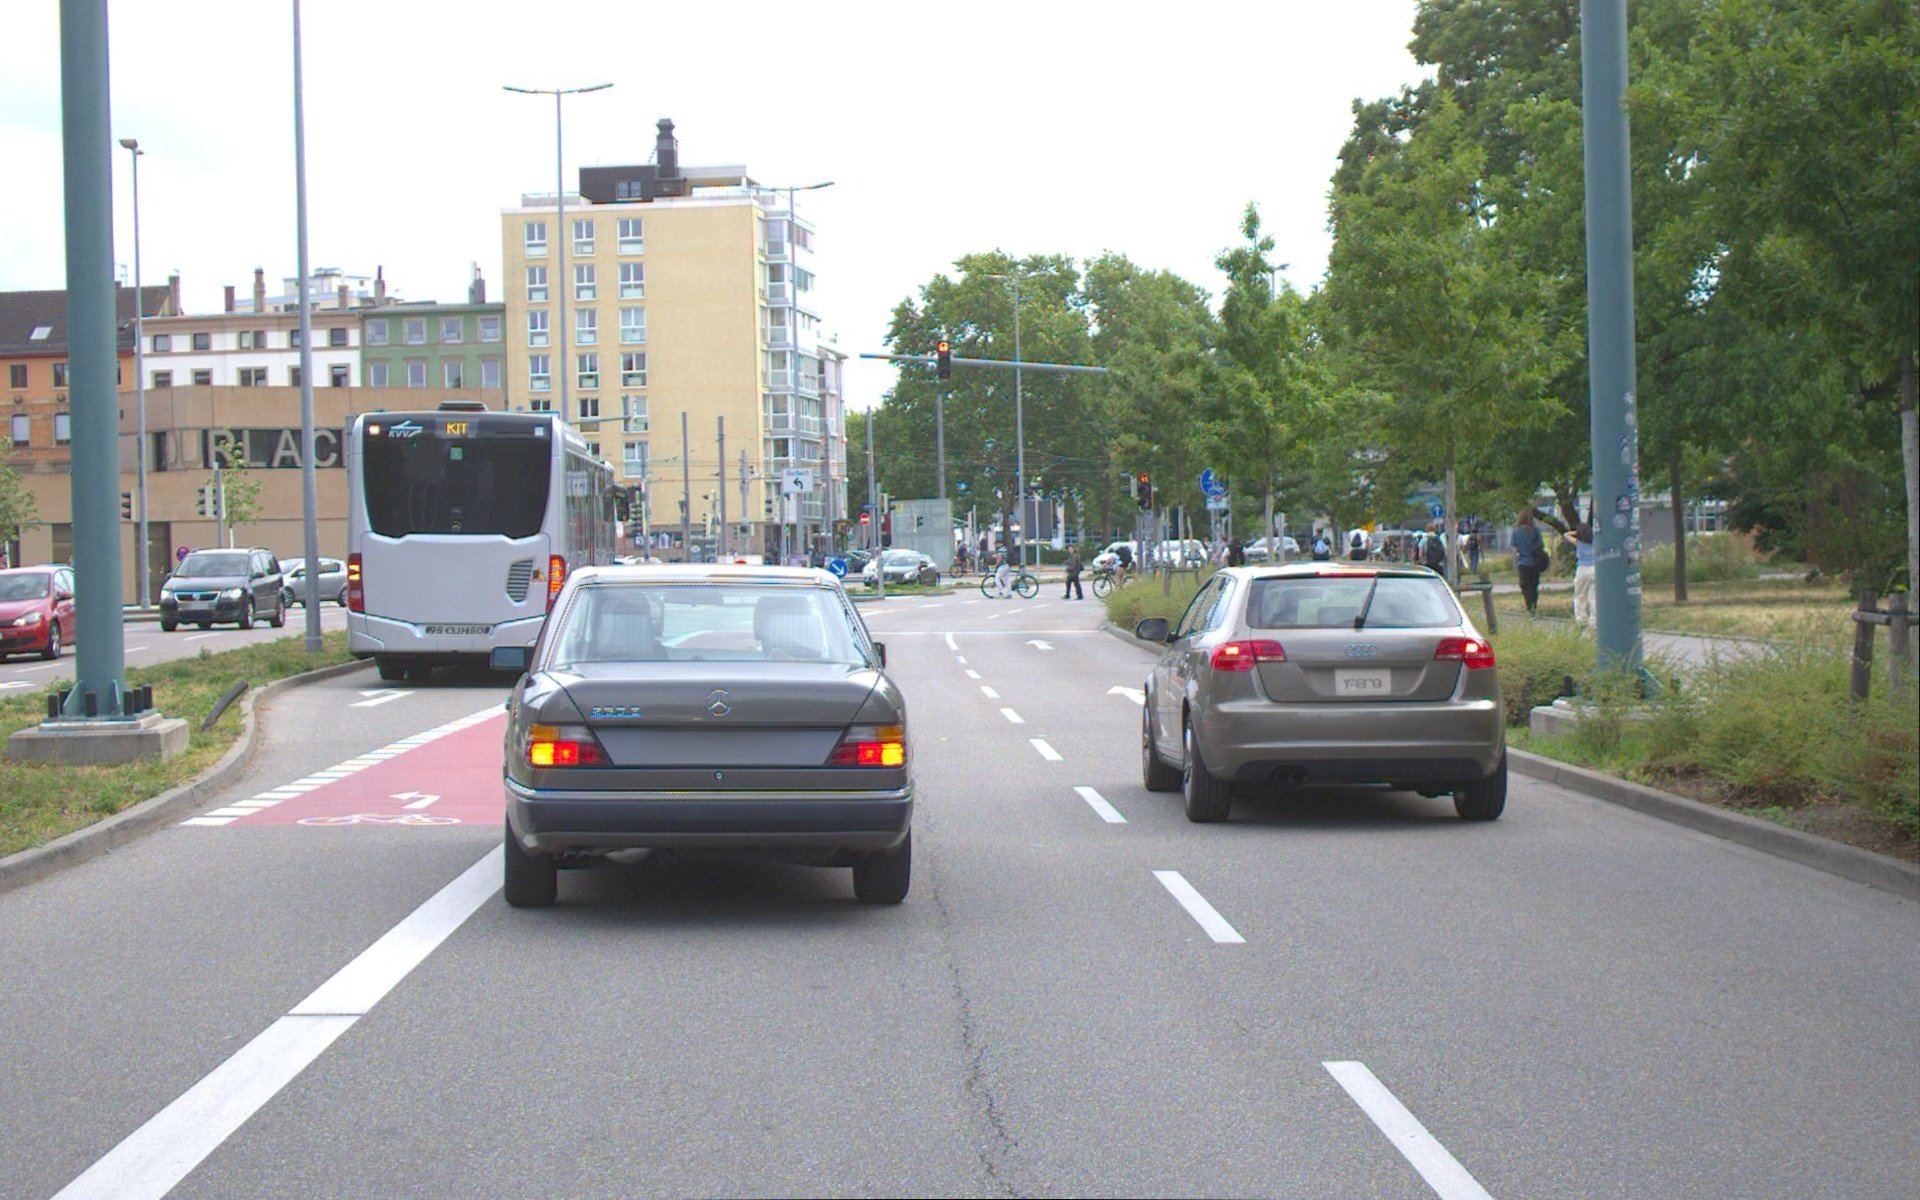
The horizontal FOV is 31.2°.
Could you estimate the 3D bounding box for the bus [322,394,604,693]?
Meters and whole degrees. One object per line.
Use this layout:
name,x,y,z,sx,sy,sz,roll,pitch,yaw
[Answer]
bus,-6.122,-0.732,43.558,2.831,3.378,8.184,-1,1,-4

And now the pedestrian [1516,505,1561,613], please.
pedestrian,9.249,-0.663,54.962,0.647,1.707,0.561,-1,1,13

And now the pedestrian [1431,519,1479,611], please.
pedestrian,9.303,-0.662,64.582,0.802,1.707,0.764,-1,1,11

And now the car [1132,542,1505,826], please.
car,1.992,0.413,20.047,1.724,1.452,3.736,-1,1,0

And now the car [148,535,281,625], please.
car,-14.957,-0.438,69.161,1.801,1.660,4.301,-3,1,-2

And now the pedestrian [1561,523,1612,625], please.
pedestrian,9.074,-0.378,49.790,0.657,1.465,0.561,-1,1,15

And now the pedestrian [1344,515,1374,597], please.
pedestrian,9.852,-1.082,84.902,0.614,2.007,0.597,-1,1,-3

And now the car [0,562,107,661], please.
car,-15.116,0.170,55.445,1.801,1.484,4.289,-1,1,-3

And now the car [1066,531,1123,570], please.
car,6.199,-2.291,158.556,1.994,1.697,3.998,-1,1,11

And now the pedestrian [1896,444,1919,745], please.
pedestrian,6.303,-0.051,21.034,0.935,1.824,0.886,-1,1,26

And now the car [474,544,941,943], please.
car,-1.158,0.515,15.320,1.761,1.484,4.172,-1,1,-5

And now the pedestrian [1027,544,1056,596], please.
pedestrian,2.507,-0.922,105.568,0.555,1.587,0.632,-1,-1,-40

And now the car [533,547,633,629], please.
car,-6.811,-0.245,62.331,1.655,1.392,3.861,-1,1,-4
